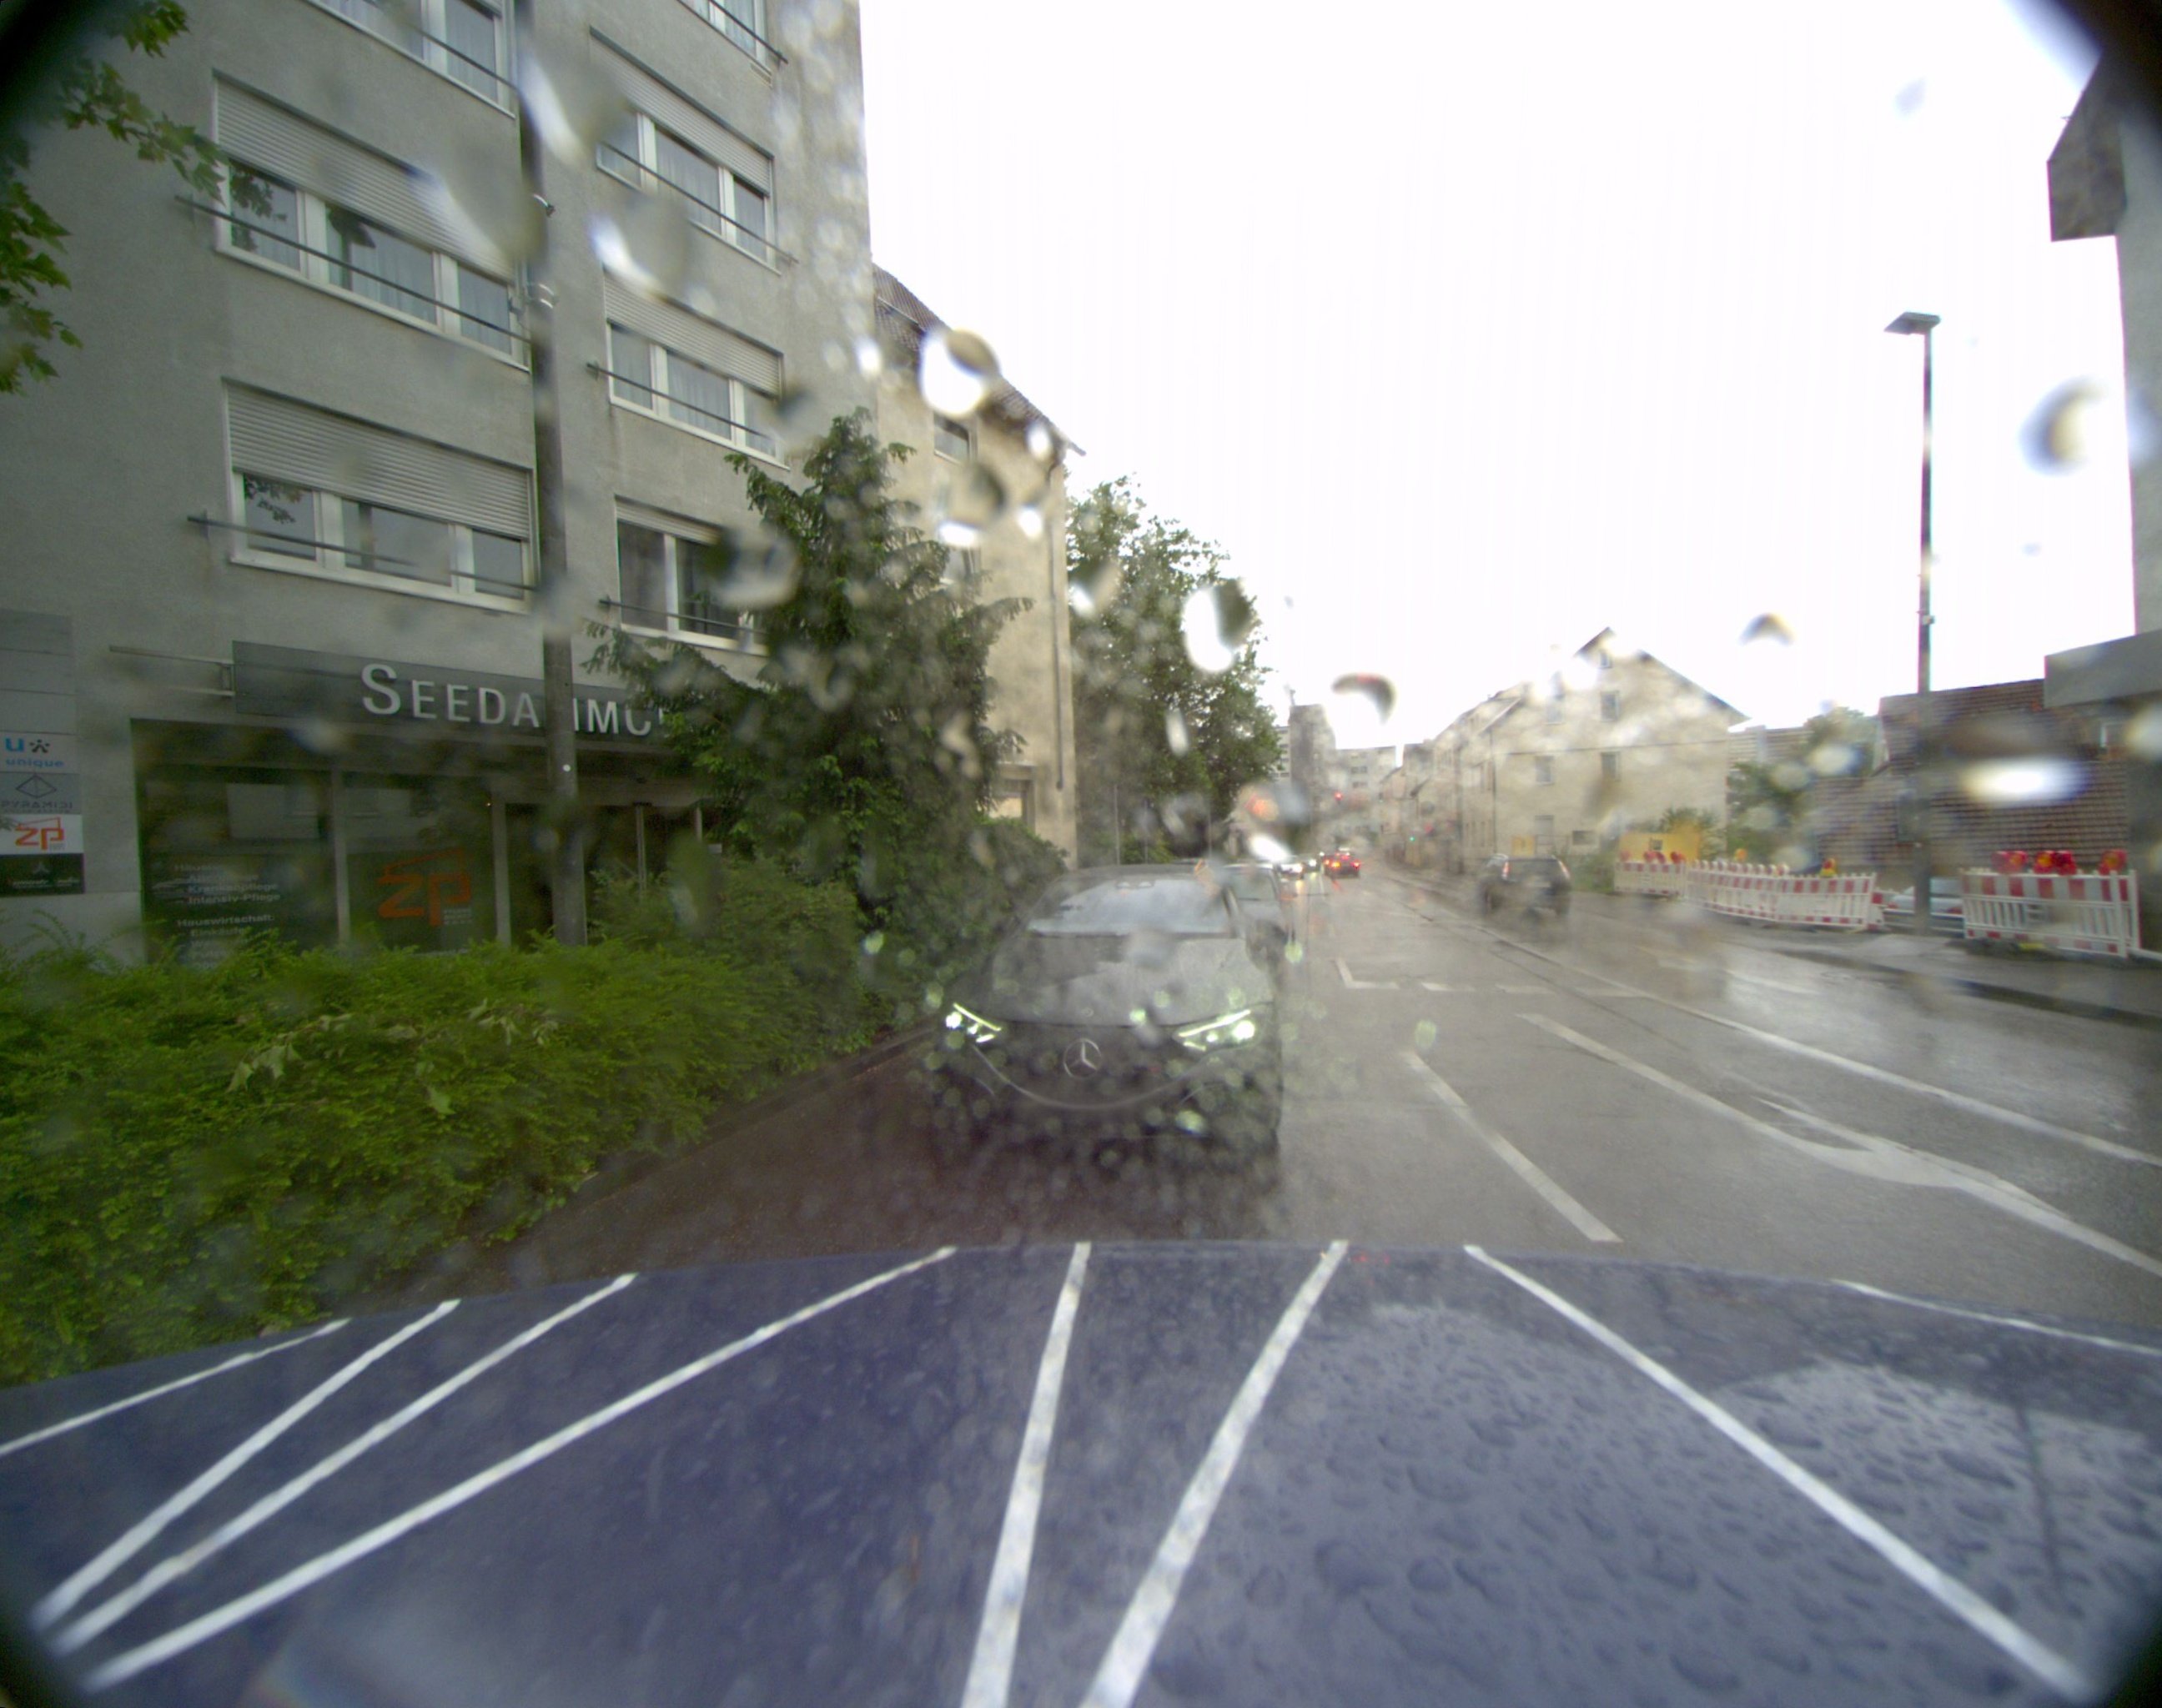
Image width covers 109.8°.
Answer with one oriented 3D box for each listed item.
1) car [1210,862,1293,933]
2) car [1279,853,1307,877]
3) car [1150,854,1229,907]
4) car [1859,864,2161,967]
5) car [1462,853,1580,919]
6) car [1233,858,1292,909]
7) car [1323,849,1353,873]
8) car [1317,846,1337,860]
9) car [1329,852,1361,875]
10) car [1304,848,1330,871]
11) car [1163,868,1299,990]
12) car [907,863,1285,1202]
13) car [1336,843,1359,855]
[{"bbox_3d":[4.165,0.971,18.329,1.685,1.413,4.004,-2,0,14],"label":"car"},{"bbox_3d":[14.267,0.717,50.982,1.613,1.495,3.722,-3,0,18],"label":"car"},{"bbox_3d":[4.058,0.893,27.804,1.933,1.770,4.740,-1,0,20],"label":"car"},{"bbox_3d":[16.498,1.050,13.425,3.505,1.382,1.653,6,-1,8],"label":"car"},{"bbox_3d":[11.220,0.760,19.688,1.734,1.501,4.279,-1,0,17],"label":"car"},{"bbox_3d":[6.093,0.926,25.287,1.684,1.452,4.005,-2,0,16],"label":"car"},{"bbox_3d":[18.829,0.499,55.797,1.818,1.635,4.281,-3,-1,16],"label":"car"},{"bbox_3d":[29.124,-0.180,89.864,1.790,1.555,3.841,-2,0,24],"label":"car"},{"bbox_3d":[17.221,0.610,49.652,1.709,1.375,3.674,-2,0,16],"label":"car"},{"bbox_3d":[20.415,0.476,65.667,1.790,1.841,3.841,-2,0,22],"label":"car"},{"bbox_3d":[2.408,0.972,11.473,1.639,1.424,3.810,-1,0,17],"label":"car"},{"bbox_3d":[0.456,0.901,5.825,1.819,1.562,4.280,-3,-1,11],"label":"car"},{"bbox_3d":[38.075,-0.727,108.594,1.736,1.555,3.843,-2,0,40],"label":"car"}]
